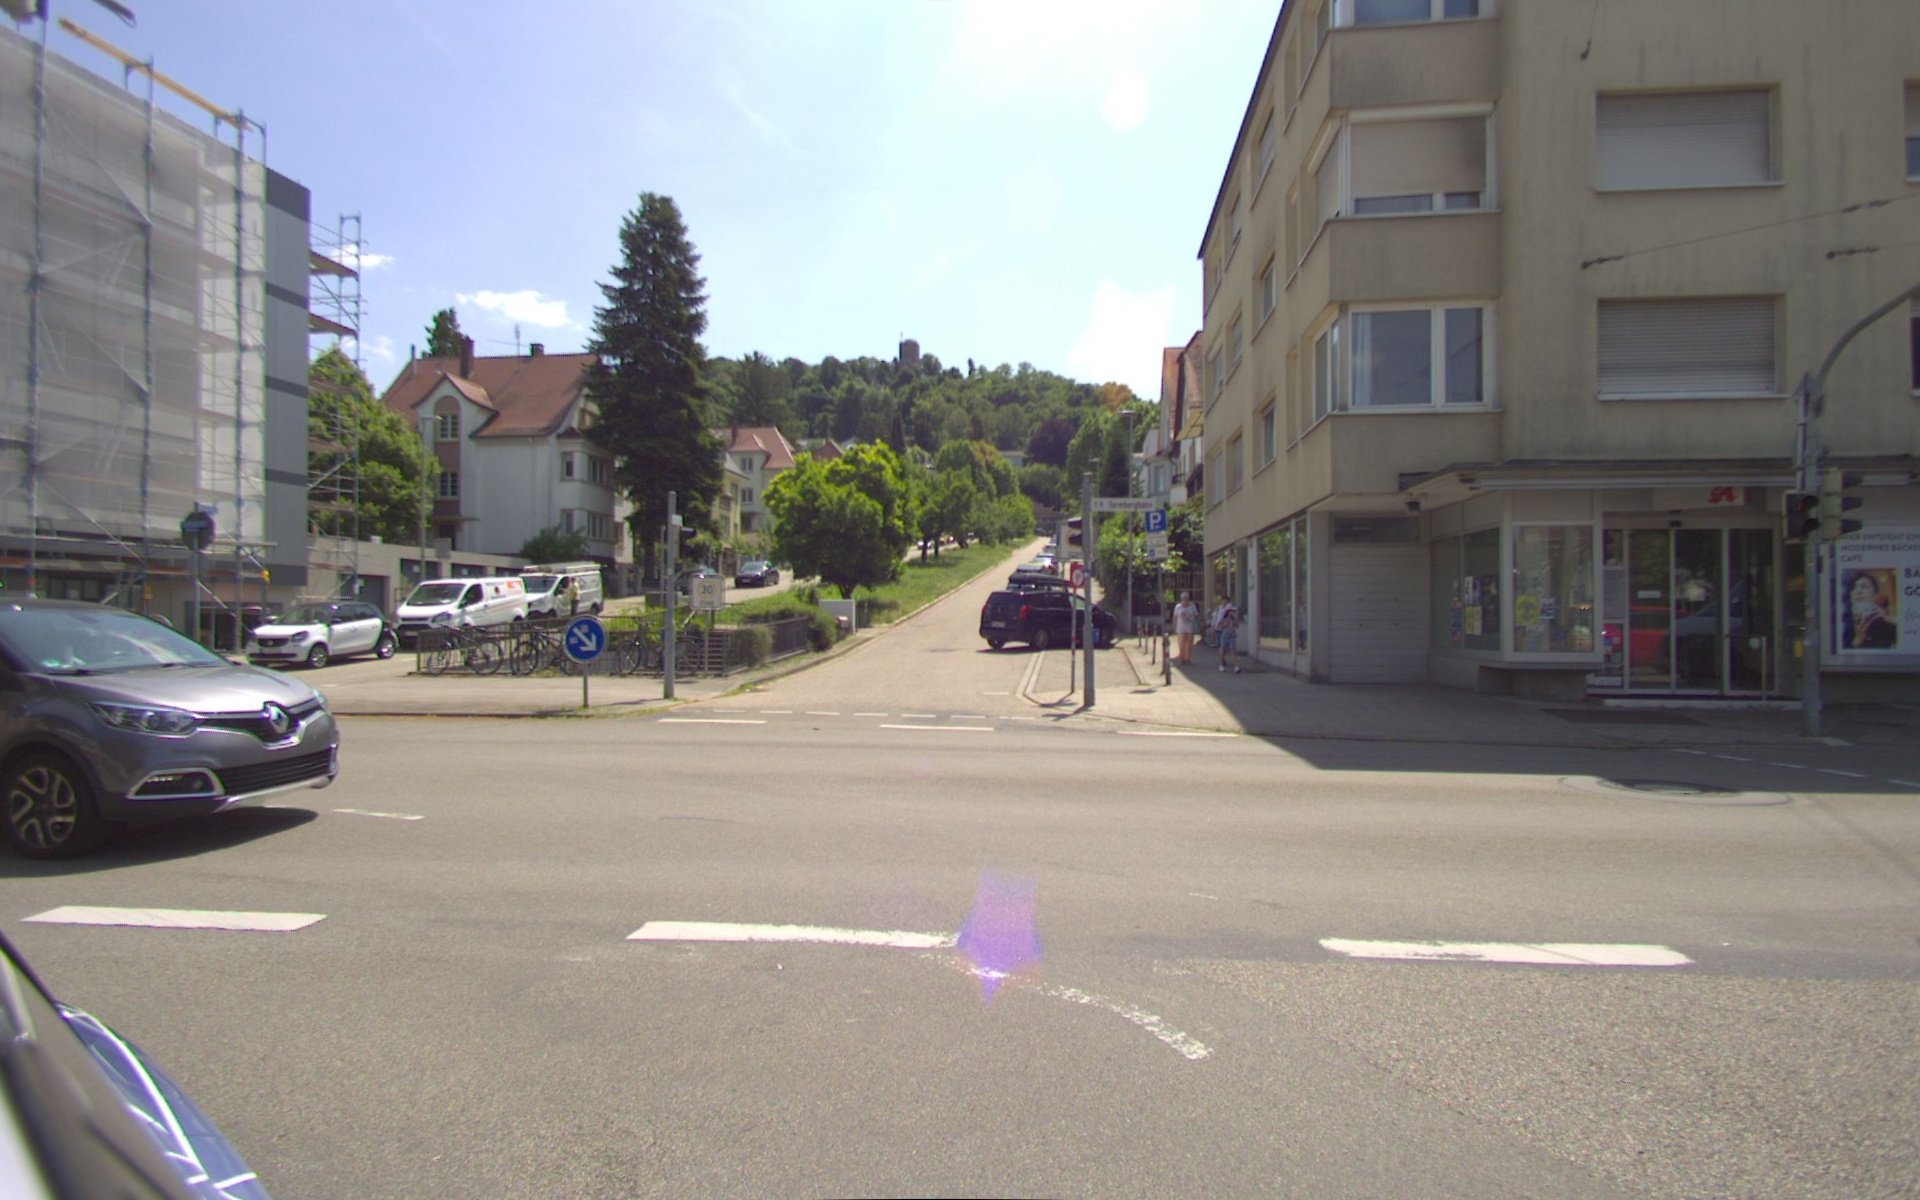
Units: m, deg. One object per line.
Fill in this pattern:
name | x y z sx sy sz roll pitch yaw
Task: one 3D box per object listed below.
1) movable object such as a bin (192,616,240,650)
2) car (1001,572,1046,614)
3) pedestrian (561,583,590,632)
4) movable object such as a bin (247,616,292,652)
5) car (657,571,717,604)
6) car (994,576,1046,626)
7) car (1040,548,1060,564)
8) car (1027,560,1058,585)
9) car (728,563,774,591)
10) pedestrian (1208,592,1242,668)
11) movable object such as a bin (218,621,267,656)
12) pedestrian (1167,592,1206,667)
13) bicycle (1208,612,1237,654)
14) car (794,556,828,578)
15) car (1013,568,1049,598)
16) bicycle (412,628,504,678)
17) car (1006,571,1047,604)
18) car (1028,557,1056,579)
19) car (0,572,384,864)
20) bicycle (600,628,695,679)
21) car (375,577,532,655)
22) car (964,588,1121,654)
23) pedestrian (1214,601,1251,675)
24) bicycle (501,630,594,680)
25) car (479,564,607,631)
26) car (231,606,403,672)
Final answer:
movable object such as a bin | -20.735 0.917 28.212 0.817 0.933 0.738 -1 0 10
car | 2.741 -0.341 43.062 1.787 1.562 3.994 0 3 6
pedestrian | -13.944 0.270 36.686 0.735 1.727 0.709 -1 -1 12
movable object such as a bin | -18.953 0.928 27.787 0.696 0.933 0.738 -1 0 10
car | -13.335 -0.642 49.667 1.735 1.458 3.737 -1 3 3
car | 2.297 0.004 37.953 1.787 1.628 3.994 0 3 6
car | 8.543 -4.174 95.528 1.836 1.431 3.994 0 3 6
car | 5.160 -1.726 63.053 1.836 1.431 3.994 0 3 6
car | -12.253 -1.367 59.511 1.735 1.458 3.737 -1 3 3
pedestrian | 5.860 0.654 22.410 0.641 1.645 0.686 0 -1 10
movable object such as a bin | -19.785 1.053 27.926 0.817 0.933 0.738 -1 0 10
pedestrian | 5.125 0.662 22.942 0.813 1.645 0.801 0 -1 10
bicycle | 6.852 0.845 26.492 0.492 1.034 1.739 -1 0 7
car | -10.700 -2.420 72.811 1.735 1.458 3.737 -1 3 3
car | 3.827 -0.918 54.013 1.787 1.431 3.994 0 3 6
bicycle | -10.042 1.063 20.242 1.697 0.974 0.398 0 0 5
car | 3.187 -0.620 48.098 1.787 1.397 3.994 0 3 6
car | 5.627 -2.205 68.947 1.836 1.431 3.994 0 3 6
car | -6.304 0.684 6.830 3.952 1.644 1.756 -1 0 8
bicycle | -6.117 1.049 19.837 1.761 0.974 0.398 0 0 5
car | -15.174 0.384 30.713 1.974 2.028 5.007 -1 3 4
car | 2.337 0.540 27.945 4.264 1.676 2.002 0 -1 -43
pedestrian | 5.600 0.773 20.814 0.641 1.487 0.686 0 -1 10
bicycle | -8.193 1.085 20.094 1.724 0.974 0.398 0 0 5
car | -15.204 -0.165 37.296 2.051 2.193 5.000 -1 3 8
car | -15.983 0.922 25.396 1.736 1.458 3.734 -1 0 5
